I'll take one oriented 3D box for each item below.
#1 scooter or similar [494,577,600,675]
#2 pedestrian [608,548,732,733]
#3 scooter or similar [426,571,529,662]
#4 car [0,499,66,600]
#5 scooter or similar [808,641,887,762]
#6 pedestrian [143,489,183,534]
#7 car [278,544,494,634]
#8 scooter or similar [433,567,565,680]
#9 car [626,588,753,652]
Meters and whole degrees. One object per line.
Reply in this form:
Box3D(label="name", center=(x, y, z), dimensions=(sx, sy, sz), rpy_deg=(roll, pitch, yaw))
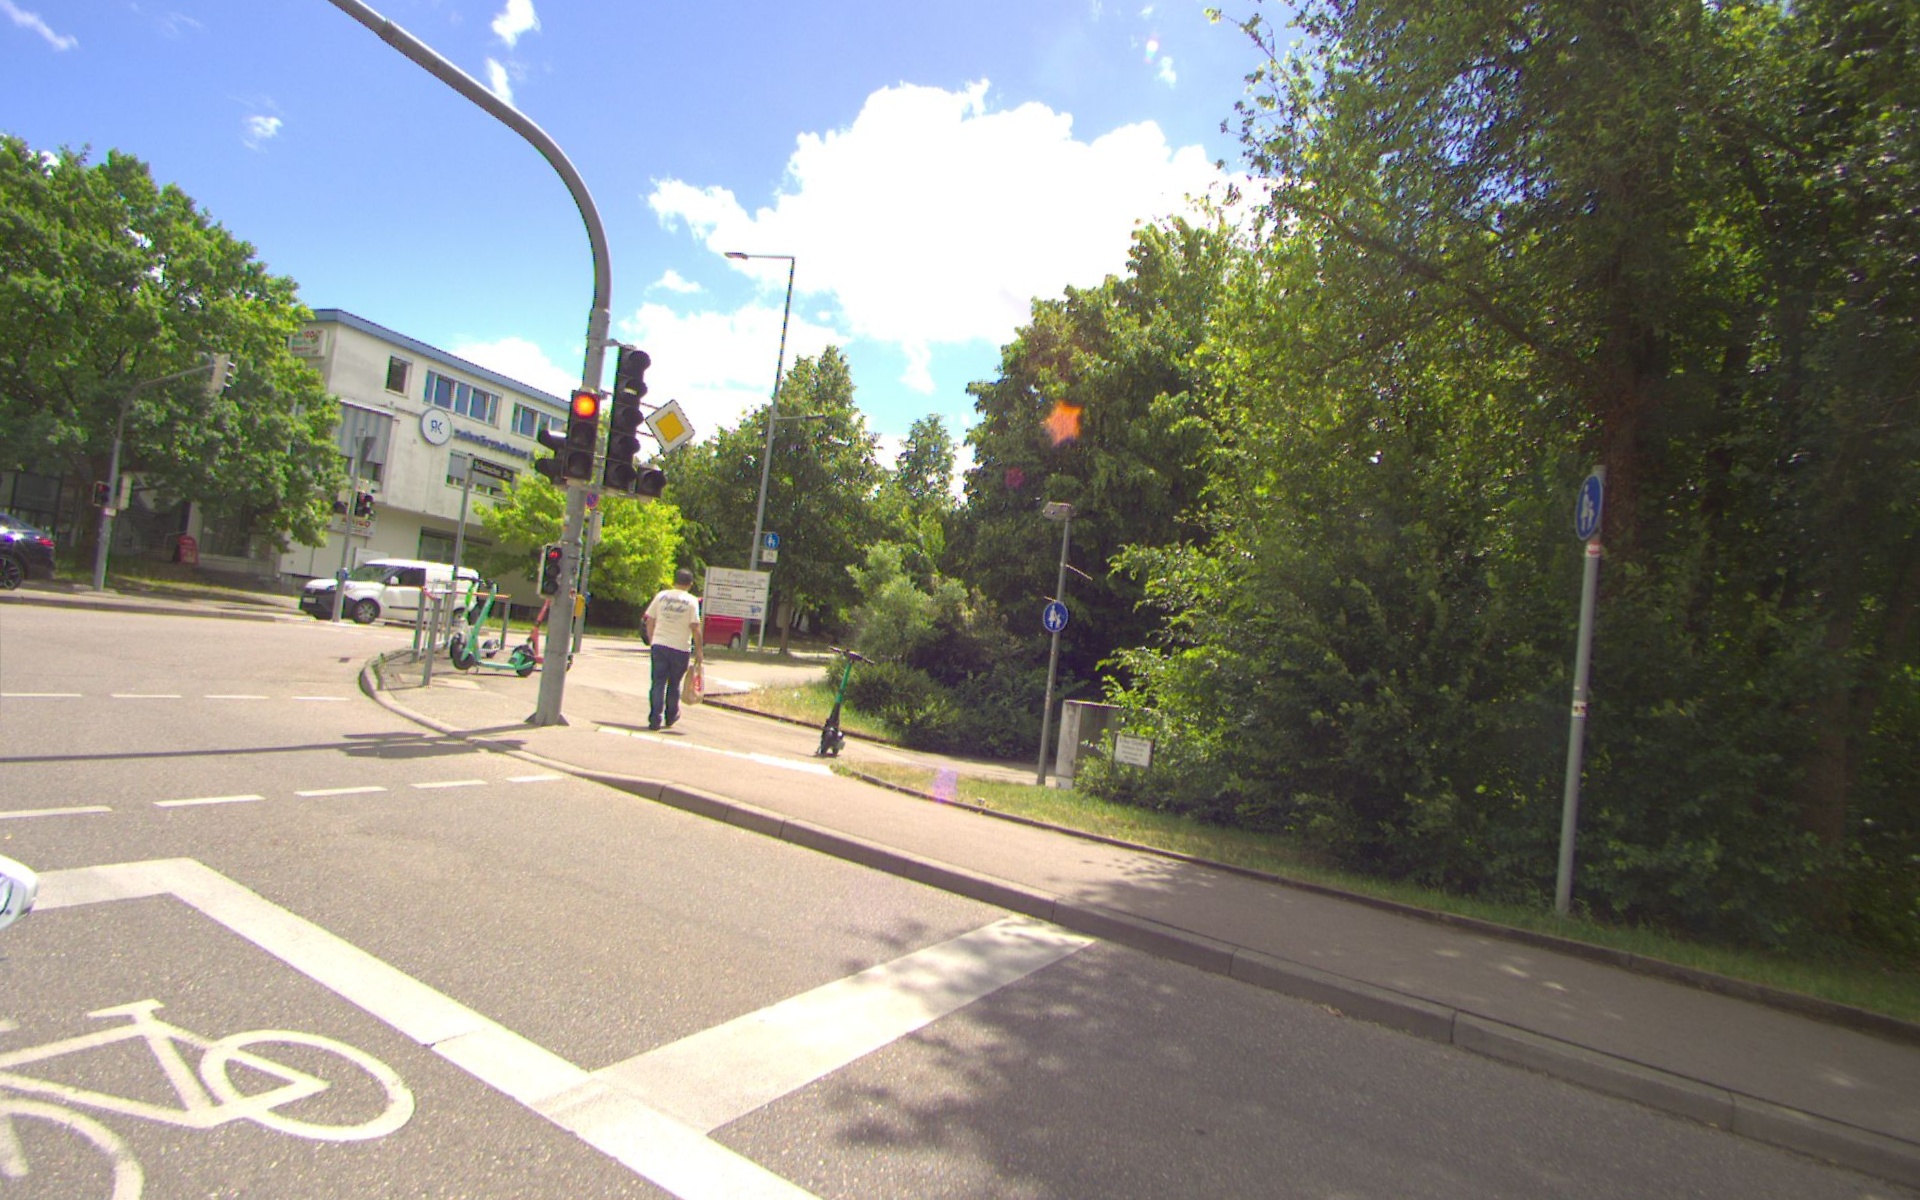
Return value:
Box3D(label="scooter or similar", center=(-5.987, 0.402, 14.636), dimensions=(0.547, 1.254, 1.231), rpy_deg=(8, -3, 23))
Box3D(label="pedestrian", center=(-3.091, 0.437, 10.804), dimensions=(0.728, 1.829, 0.872), rpy_deg=(7, -1, 13))
Box3D(label="scooter or similar", center=(-7.002, 0.270, 14.663), dimensions=(0.533, 1.168, 1.362), rpy_deg=(9, -3, 7))
Box3D(label="car", center=(-18.667, -1.167, 17.174), dimensions=(1.963, 1.737, 4.577), rpy_deg=(7, -2, 20))
Box3D(label="scooter or similar", center=(-1.393, 1.237, 12.268), dimensions=(0.706, 1.287, 1.243), rpy_deg=(10, -7, -8))
Box3D(label="pedestrian", center=(-33.347, -3.704, 42.105), dimensions=(0.890, 1.662, 0.771), rpy_deg=(7, -1, 19))
Box3D(label="car", center=(-15.018, -0.216, 26.639), dimensions=(1.963, 1.737, 4.576), rpy_deg=(7, -2, 22))
Box3D(label="scooter or similar", center=(-5.932, 0.321, 13.003), dimensions=(0.455, 1.292, 1.344), rpy_deg=(8, -1, 38))
Box3D(label="car", center=(-10.040, 0.815, 37.772), dimensions=(1.964, 1.885, 4.822), rpy_deg=(5, -3, 22))
